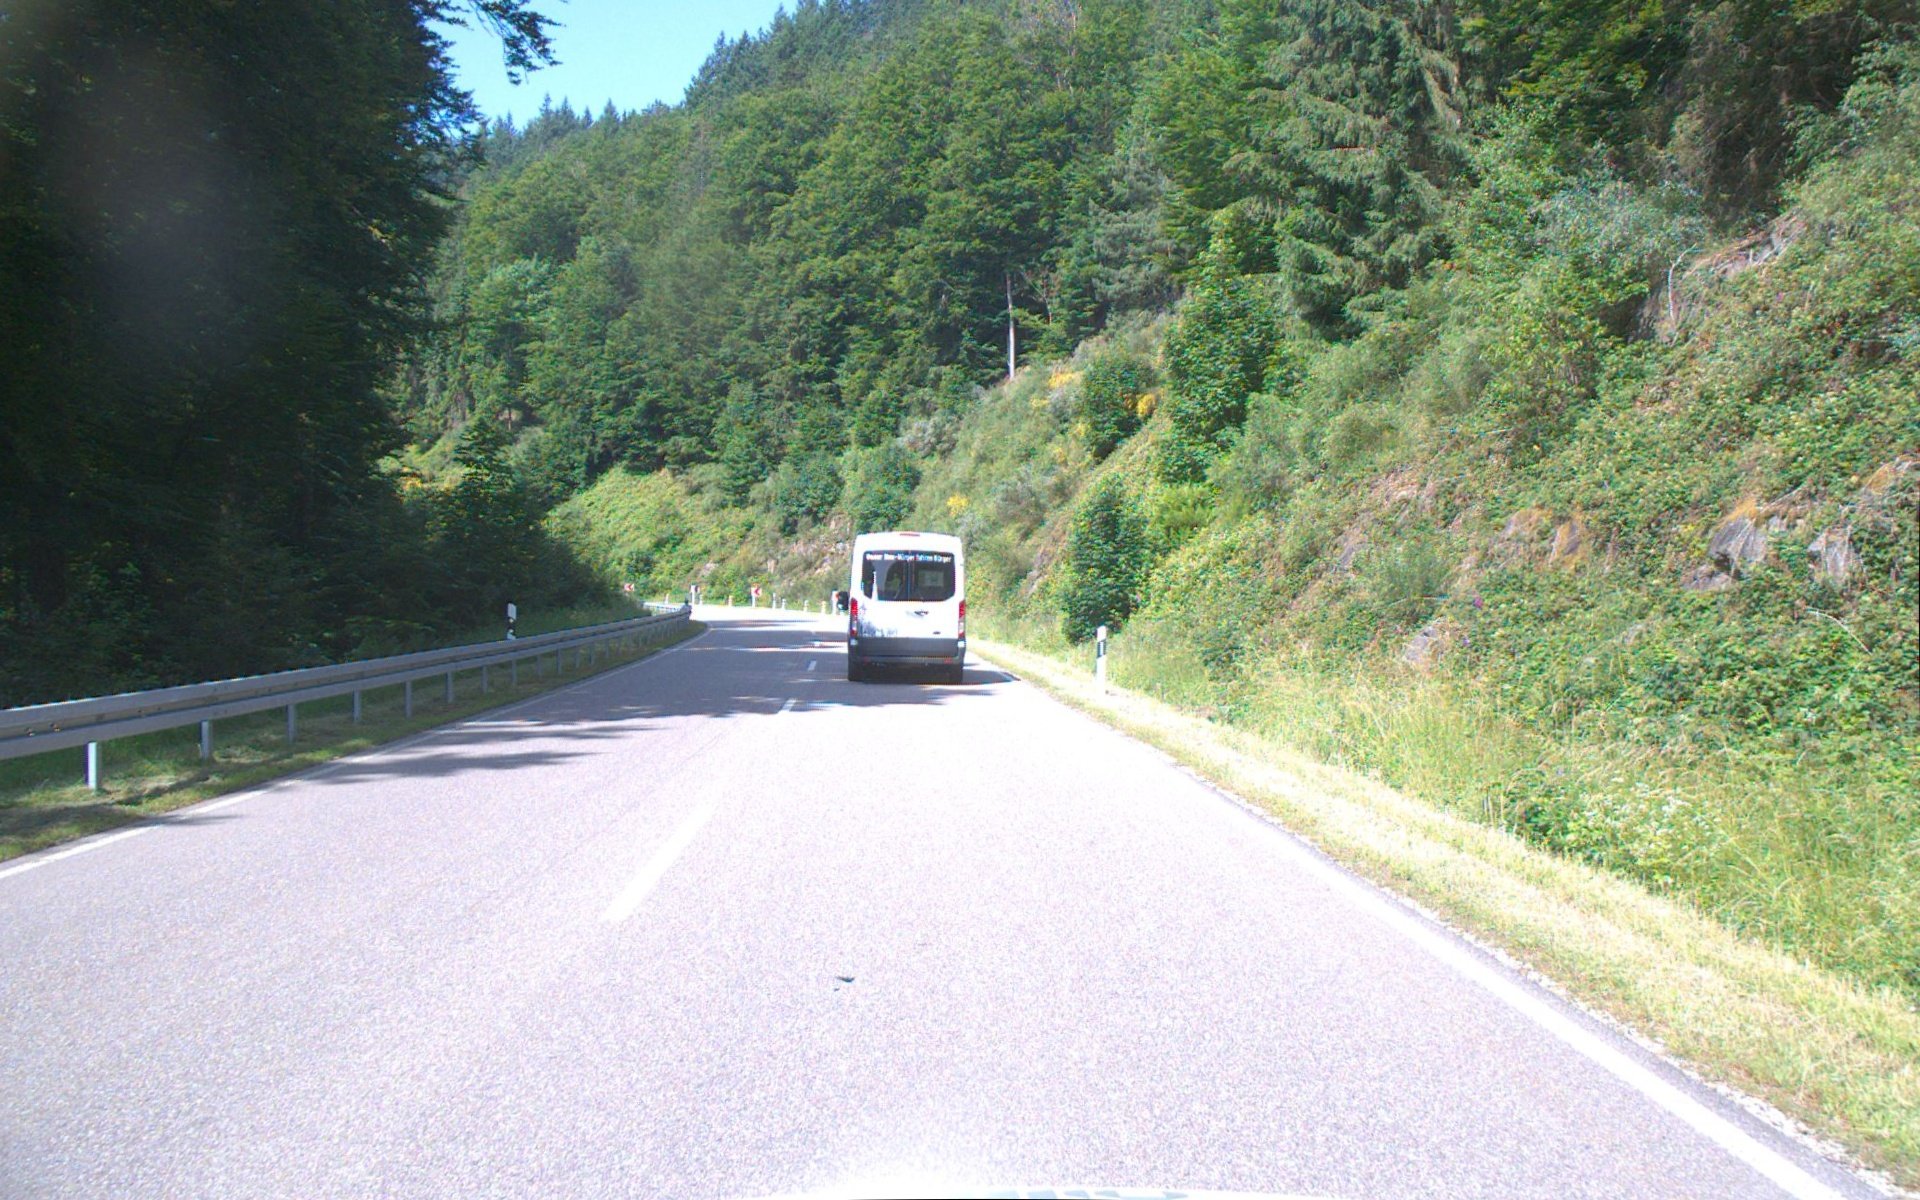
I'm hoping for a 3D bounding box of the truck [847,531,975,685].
[{"bbox_3d":[-0.956,0.112,29.394,2.042,2.502,4.871,1,0,-4],"label":"truck"}]
